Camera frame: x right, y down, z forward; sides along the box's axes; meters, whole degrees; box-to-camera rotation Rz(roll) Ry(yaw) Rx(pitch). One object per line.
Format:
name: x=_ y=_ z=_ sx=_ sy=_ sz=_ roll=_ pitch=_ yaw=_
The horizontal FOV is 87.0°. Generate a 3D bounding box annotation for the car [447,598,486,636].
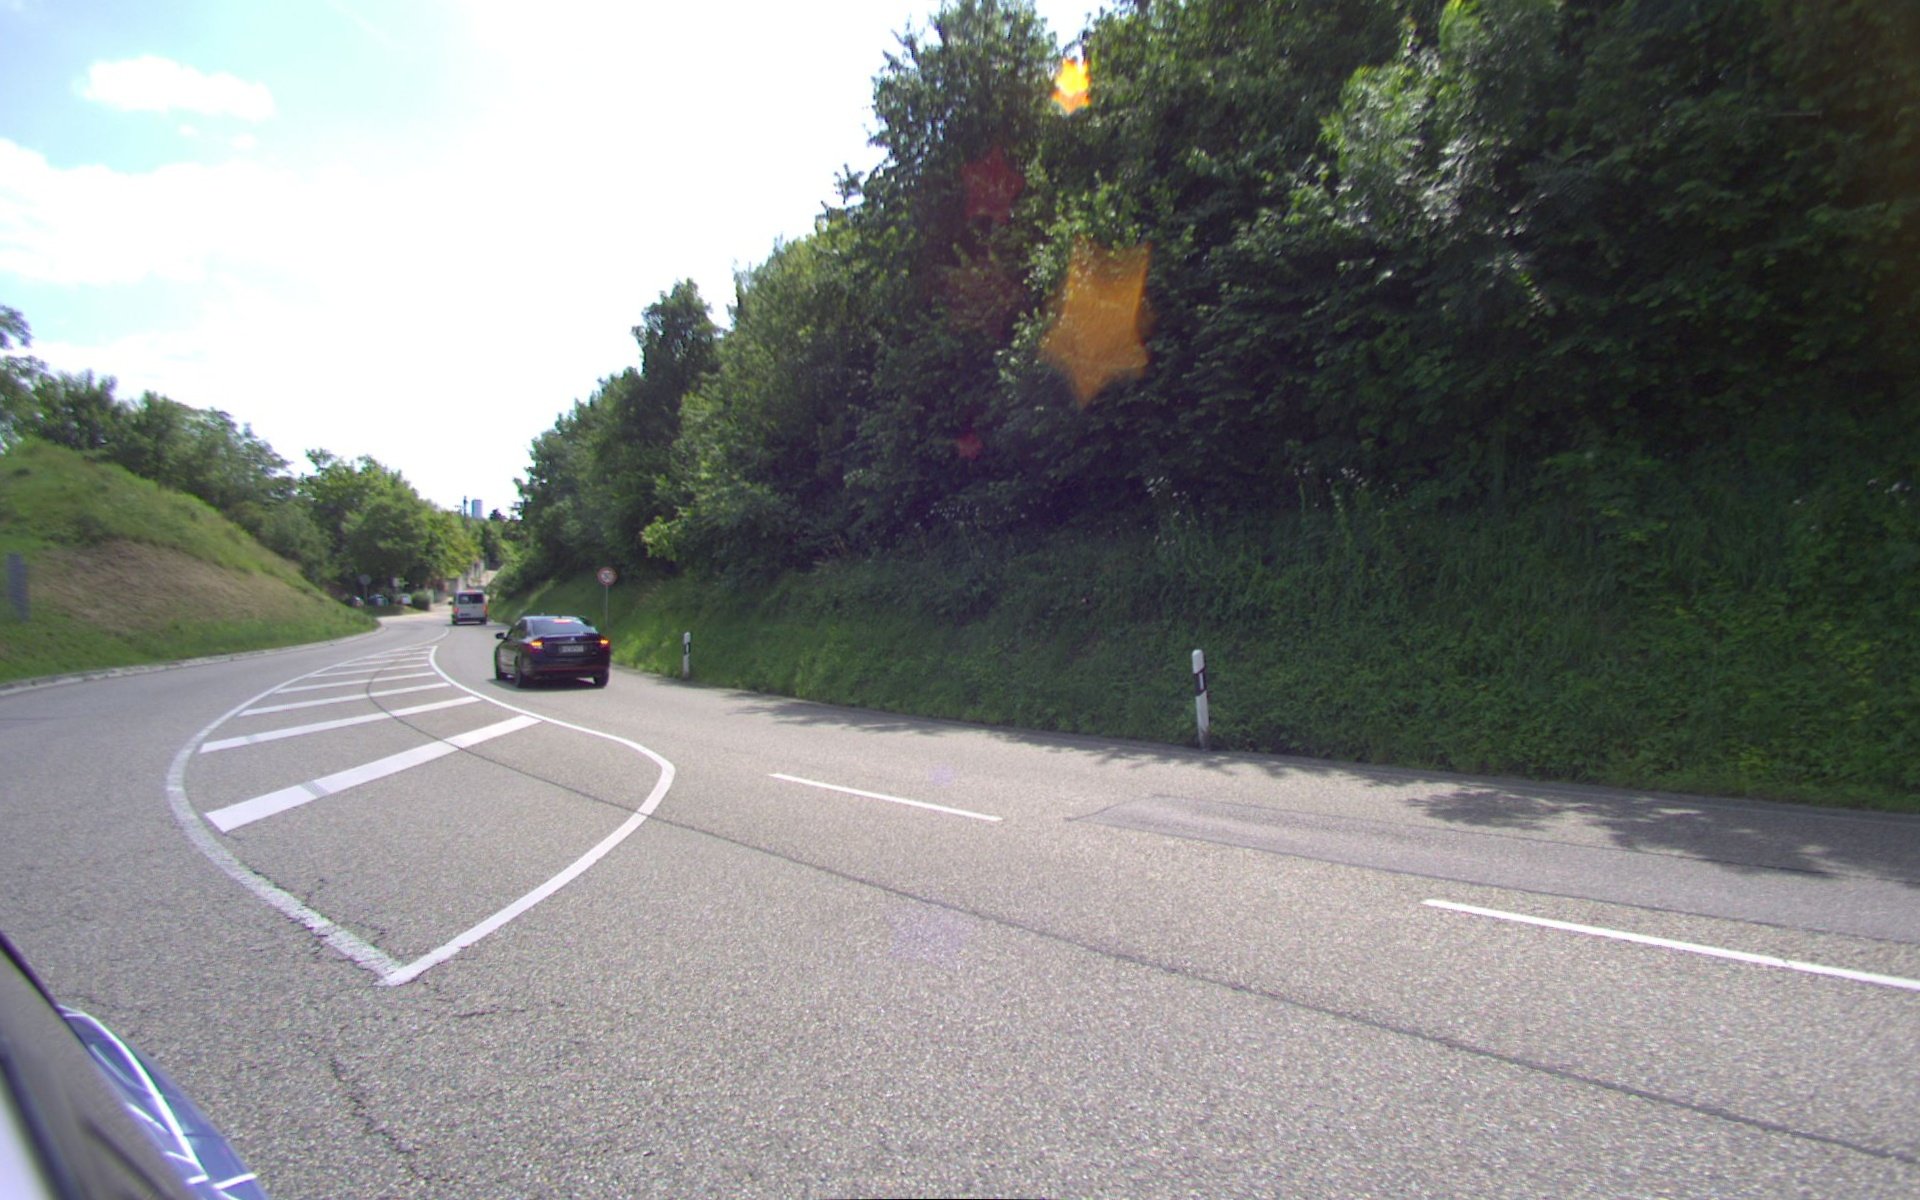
car: x=-33.946 y=1.109 z=69.537 sx=2.056 sy=2.307 sz=5.966 roll=1 pitch=1 yaw=-29

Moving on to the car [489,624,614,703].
car: x=-8.682 y=1.247 z=21.305 sx=1.661 sy=1.430 sz=4.357 roll=1 pitch=-1 yaw=-32
